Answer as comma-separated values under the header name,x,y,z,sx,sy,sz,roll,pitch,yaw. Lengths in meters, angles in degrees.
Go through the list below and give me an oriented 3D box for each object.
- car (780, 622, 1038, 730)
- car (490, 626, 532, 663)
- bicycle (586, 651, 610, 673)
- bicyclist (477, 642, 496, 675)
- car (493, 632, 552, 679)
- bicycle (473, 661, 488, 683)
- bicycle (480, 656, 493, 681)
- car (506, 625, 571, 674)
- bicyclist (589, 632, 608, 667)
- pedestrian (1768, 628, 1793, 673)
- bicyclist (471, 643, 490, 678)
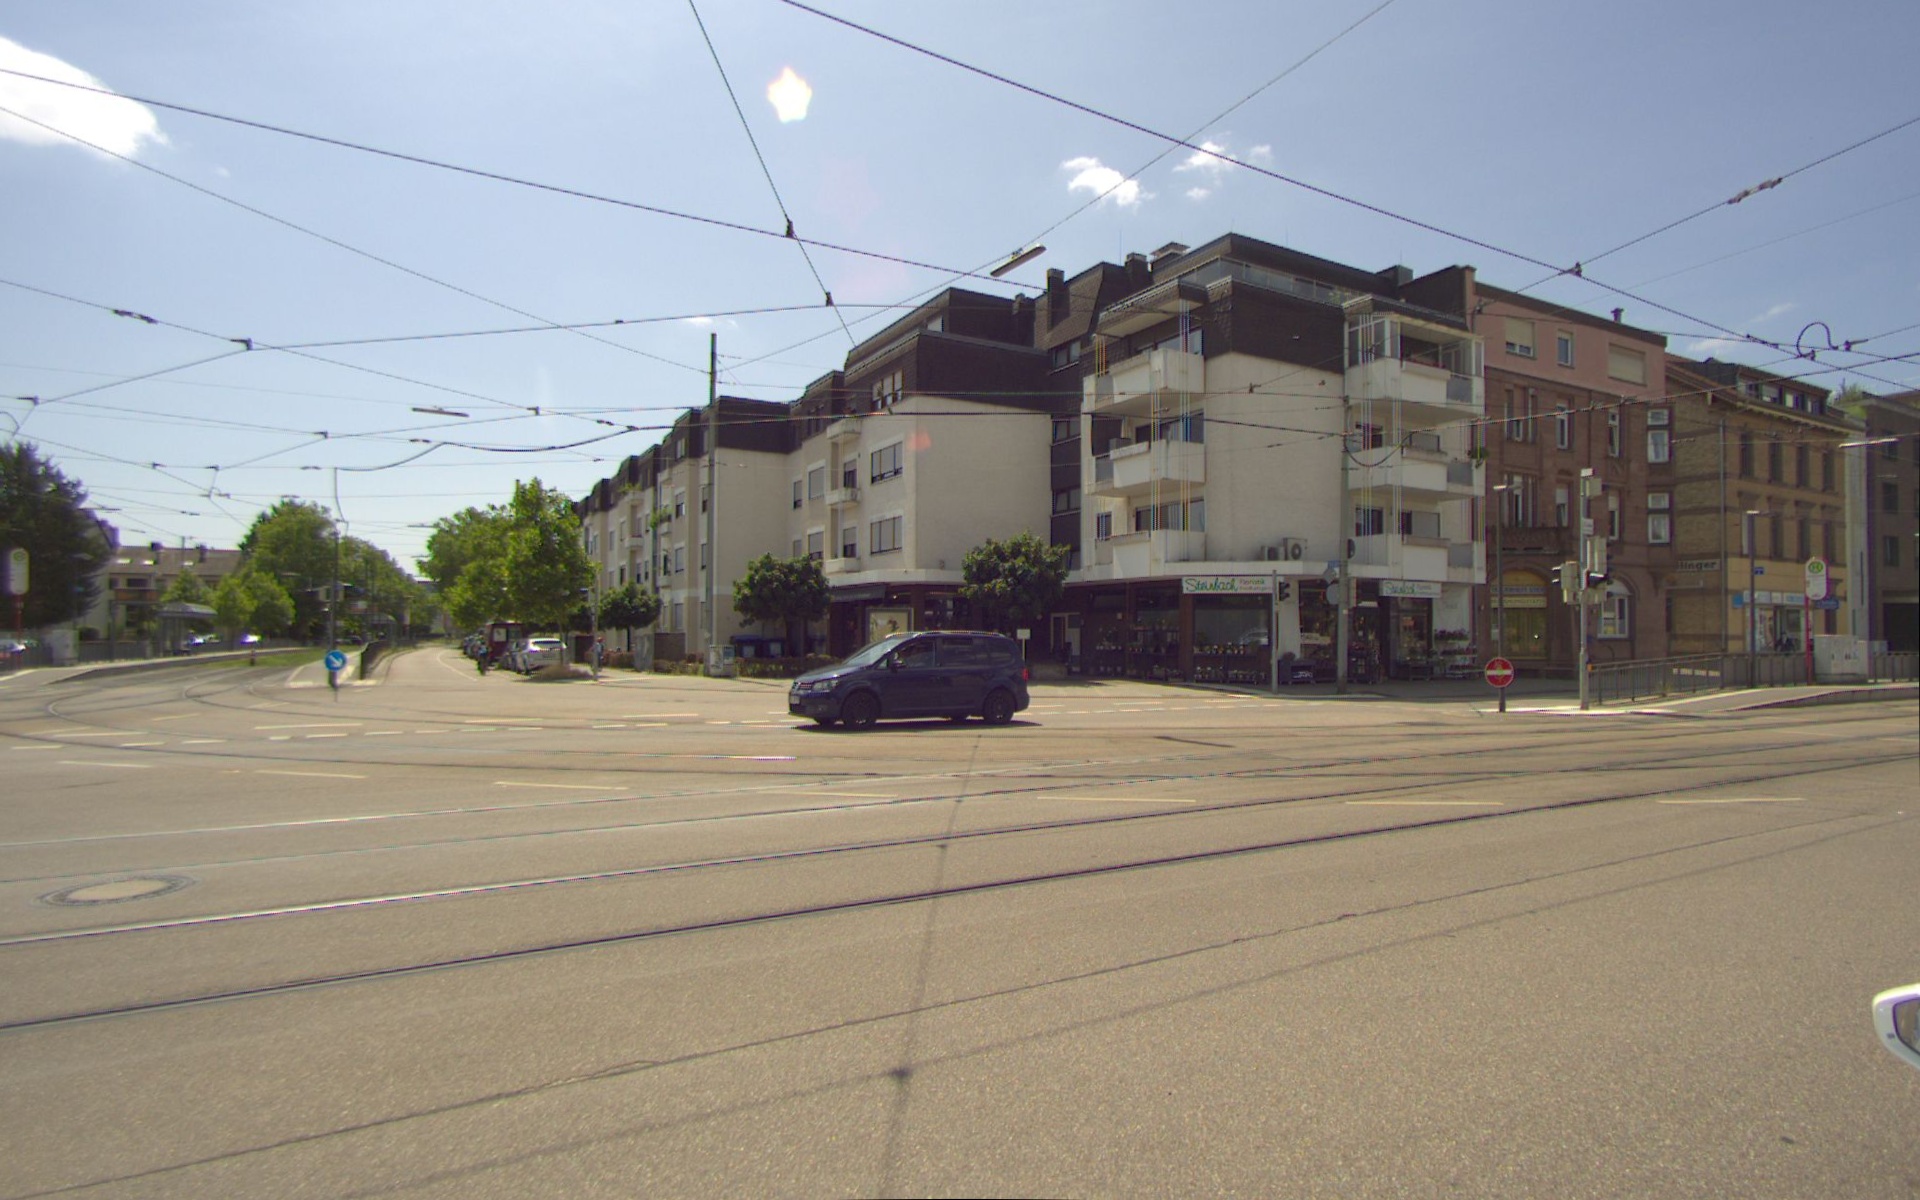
name,x,y,z,sx,sy,sz,roll,pitch,yaw
car,-0.855,1.275,17.646,4.228,1.705,1.716,2,-3,-29
car,-25.713,2.538,57.496,1.975,2.040,3.973,1,-3,-27
bicycle,-15.735,2.703,43.637,0.663,0.946,2.242,2,-5,-27
bicyclist,-21.735,2.714,46.160,0.727,1.506,0.849,2,-4,-24
car,-20.044,2.582,45.910,1.977,2.039,3.969,2,-5,-31
bicycle,-19.967,3.014,41.801,0.413,0.892,2.241,2,-5,-28
bicycle,-21.871,3.181,46.406,0.510,1.115,2.244,2,-5,-25
car,-17.845,2.084,42.435,1.977,1.937,3.968,1,-3,-31
bicyclist,-15.694,2.170,43.588,0.648,1.487,0.843,2,-4,-27
pedestrian,37.121,2.282,45.432,0.801,2.040,0.614,1,-2,-32
bicyclist,-19.981,2.535,41.868,0.623,1.441,0.957,2,-4,-29
